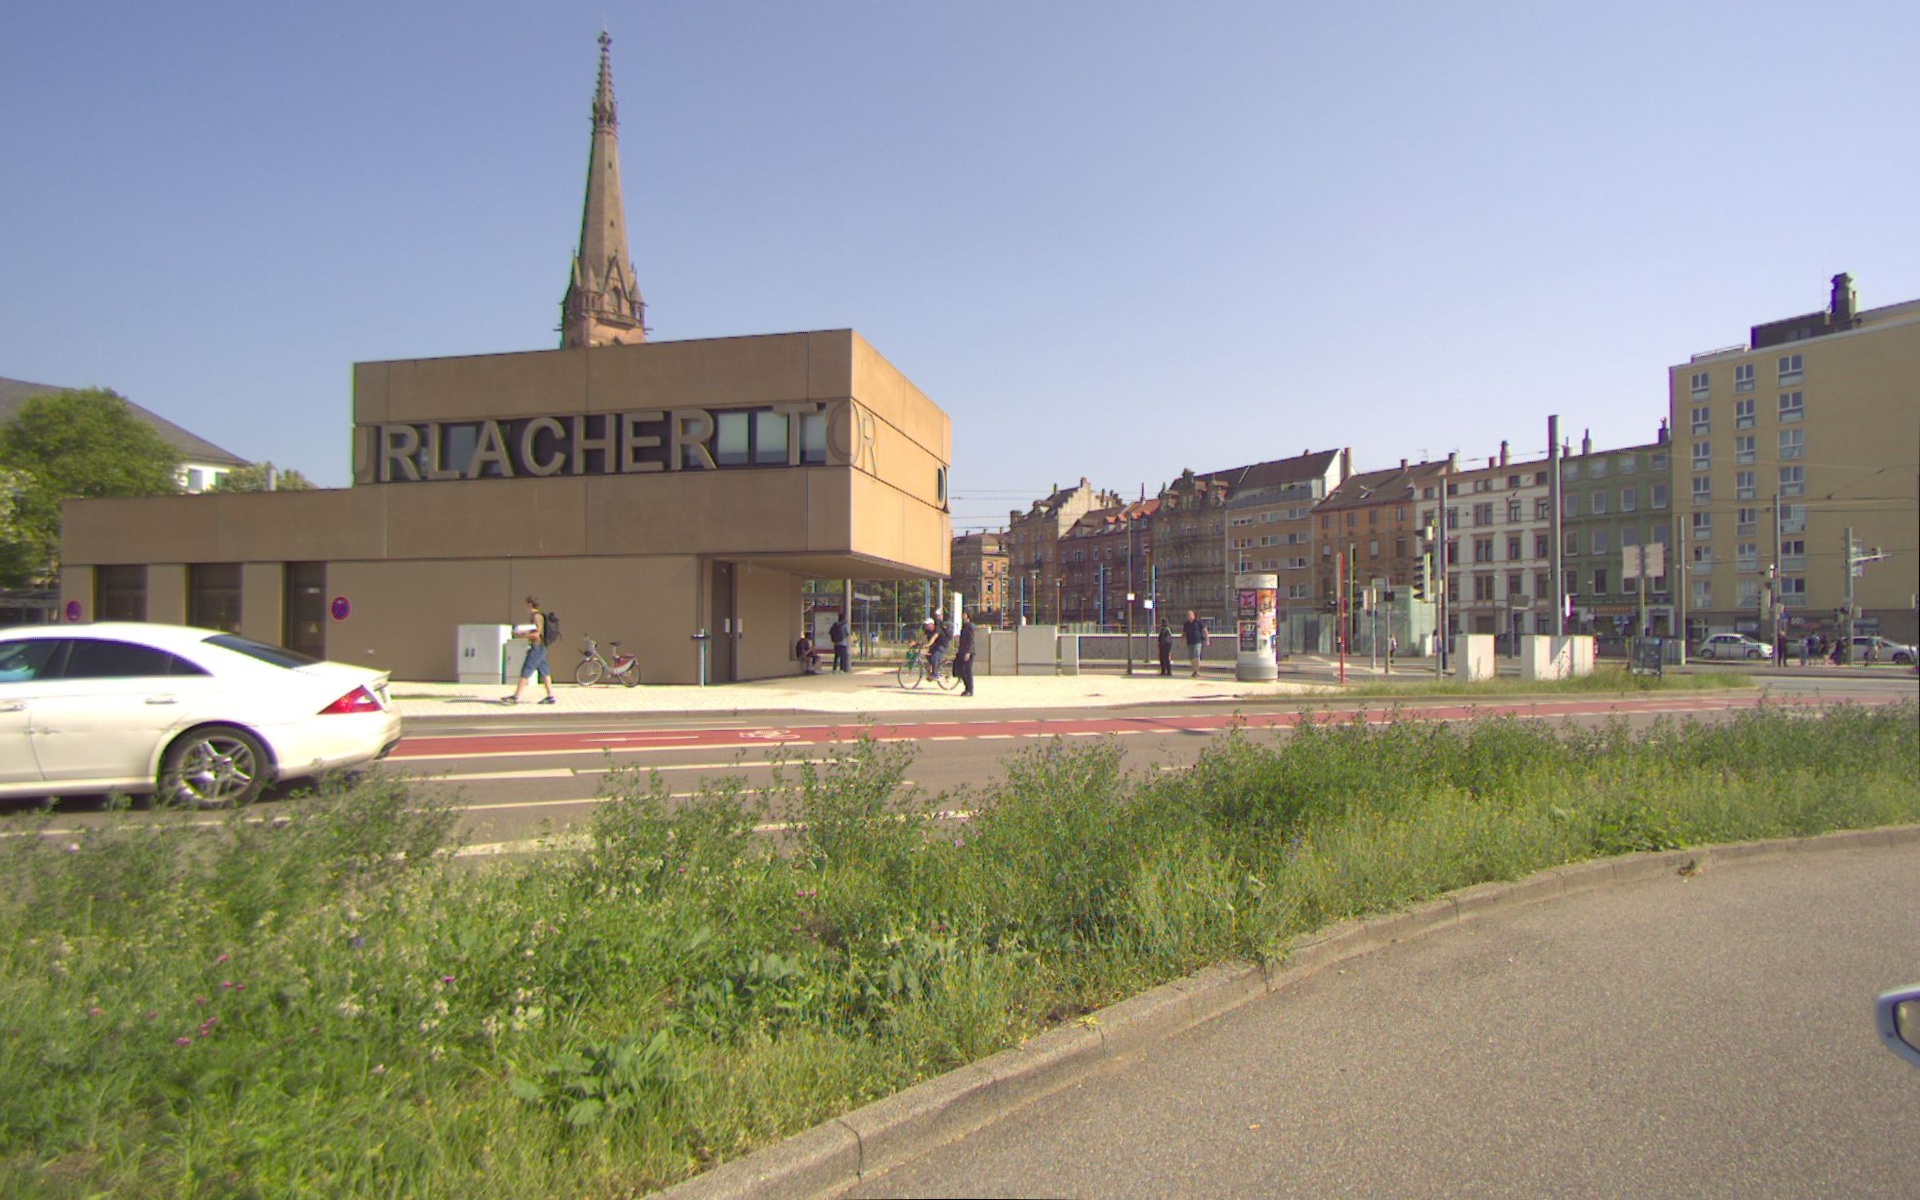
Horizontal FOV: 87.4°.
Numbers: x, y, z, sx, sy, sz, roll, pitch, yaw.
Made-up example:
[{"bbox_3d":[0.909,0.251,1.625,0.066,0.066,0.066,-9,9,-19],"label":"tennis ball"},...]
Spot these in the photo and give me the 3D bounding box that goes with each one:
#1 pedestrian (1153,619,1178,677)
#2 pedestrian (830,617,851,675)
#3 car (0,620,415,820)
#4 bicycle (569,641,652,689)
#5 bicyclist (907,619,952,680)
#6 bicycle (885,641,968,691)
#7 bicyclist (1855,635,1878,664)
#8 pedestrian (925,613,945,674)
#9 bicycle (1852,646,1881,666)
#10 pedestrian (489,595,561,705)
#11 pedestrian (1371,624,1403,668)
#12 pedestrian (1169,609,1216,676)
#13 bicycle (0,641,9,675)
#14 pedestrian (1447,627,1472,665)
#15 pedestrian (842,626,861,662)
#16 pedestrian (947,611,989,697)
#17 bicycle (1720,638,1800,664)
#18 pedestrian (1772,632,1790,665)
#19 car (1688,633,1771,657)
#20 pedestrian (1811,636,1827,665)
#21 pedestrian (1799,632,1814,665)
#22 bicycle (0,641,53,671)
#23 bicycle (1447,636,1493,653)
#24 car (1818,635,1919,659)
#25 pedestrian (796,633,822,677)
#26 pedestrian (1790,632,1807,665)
[{"bbox_3d":[5.824,1.346,28.489,0.499,1.601,0.497,-2,0,-16],"label":"pedestrian"},{"bbox_3d":[-3.634,1.386,30.549,0.523,1.718,0.607,-2,0,0],"label":"pedestrian"},{"bbox_3d":[-7.150,0.877,8.009,4.753,1.379,1.837,2,-1,-25],"label":"car"},{"bbox_3d":[-7.549,1.394,21.692,1.580,0.968,0.661,0,0,13],"label":"bicycle"},{"bbox_3d":[-0.712,1.138,23.287,0.872,1.380,0.560,1,-1,-27],"label":"bicyclist"},{"bbox_3d":[-0.768,1.531,23.267,1.827,1.078,0.560,4,-1,-27],"label":"bicycle"},{"bbox_3d":[46.175,2.513,51.187,0.683,1.453,0.721,1,-2,-34],"label":"bicyclist"},{"bbox_3d":[-0.773,1.324,30.926,0.547,1.843,0.392,-2,0,-5],"label":"pedestrian"},{"bbox_3d":[46.197,2.862,51.195,1.714,0.997,0.723,1,-2,-35],"label":"bicycle"},{"bbox_3d":[-7.327,0.820,16.940,0.668,1.783,0.875,1,0,39],"label":"pedestrian"},{"bbox_3d":[20.408,2.206,48.028,1.010,2.040,0.954,-2,0,-30],"label":"pedestrian"},{"bbox_3d":[6.570,1.191,28.354,0.886,1.843,0.874,-2,0,-32],"label":"pedestrian"},{"bbox_3d":[-29.760,1.773,30.522,1.710,1.022,0.401,-1,-2,15],"label":"bicycle"},{"bbox_3d":[24.489,2.241,49.221,0.848,1.810,0.771,-2,2,-33],"label":"pedestrian"},{"bbox_3d":[-4.918,2.003,45.478,0.782,1.612,0.692,0,-1,0],"label":"pedestrian"},{"bbox_3d":[0.176,1.149,21.682,0.831,1.802,0.876,-2,0,-1],"label":"pedestrian"},{"bbox_3d":[53.264,3.392,66.947,1.182,1.572,3.966,-2,0,-32],"label":"bicycle"},{"bbox_3d":[43.551,2.548,53.300,0.537,1.707,0.455,-2,0,-6],"label":"pedestrian"},{"bbox_3d":[47.070,2.754,61.506,1.568,1.411,3.720,1,-2,-30],"label":"car"},{"bbox_3d":[45.572,2.652,53.284,0.489,1.507,0.440,-2,0,21],"label":"pedestrian"},{"bbox_3d":[45.063,2.592,53.503,0.447,1.707,0.440,-2,0,21],"label":"pedestrian"},{"bbox_3d":[-32.710,1.944,35.182,1.837,1.022,0.462,-1,-2,15],"label":"bicycle"},{"bbox_3d":[43.020,3.740,84.767,0.765,1.366,3.511,-2,0,-31],"label":"bicycle"},{"bbox_3d":[48.277,2.485,53.452,1.562,1.195,3.800,2,-3,-38],"label":"car"},{"bbox_3d":[-4.196,1.519,27.918,0.513,1.187,0.596,0,-2,12],"label":"pedestrian"},{"bbox_3d":[44.199,2.555,52.958,0.539,1.707,0.454,-2,0,-18],"label":"pedestrian"}]
